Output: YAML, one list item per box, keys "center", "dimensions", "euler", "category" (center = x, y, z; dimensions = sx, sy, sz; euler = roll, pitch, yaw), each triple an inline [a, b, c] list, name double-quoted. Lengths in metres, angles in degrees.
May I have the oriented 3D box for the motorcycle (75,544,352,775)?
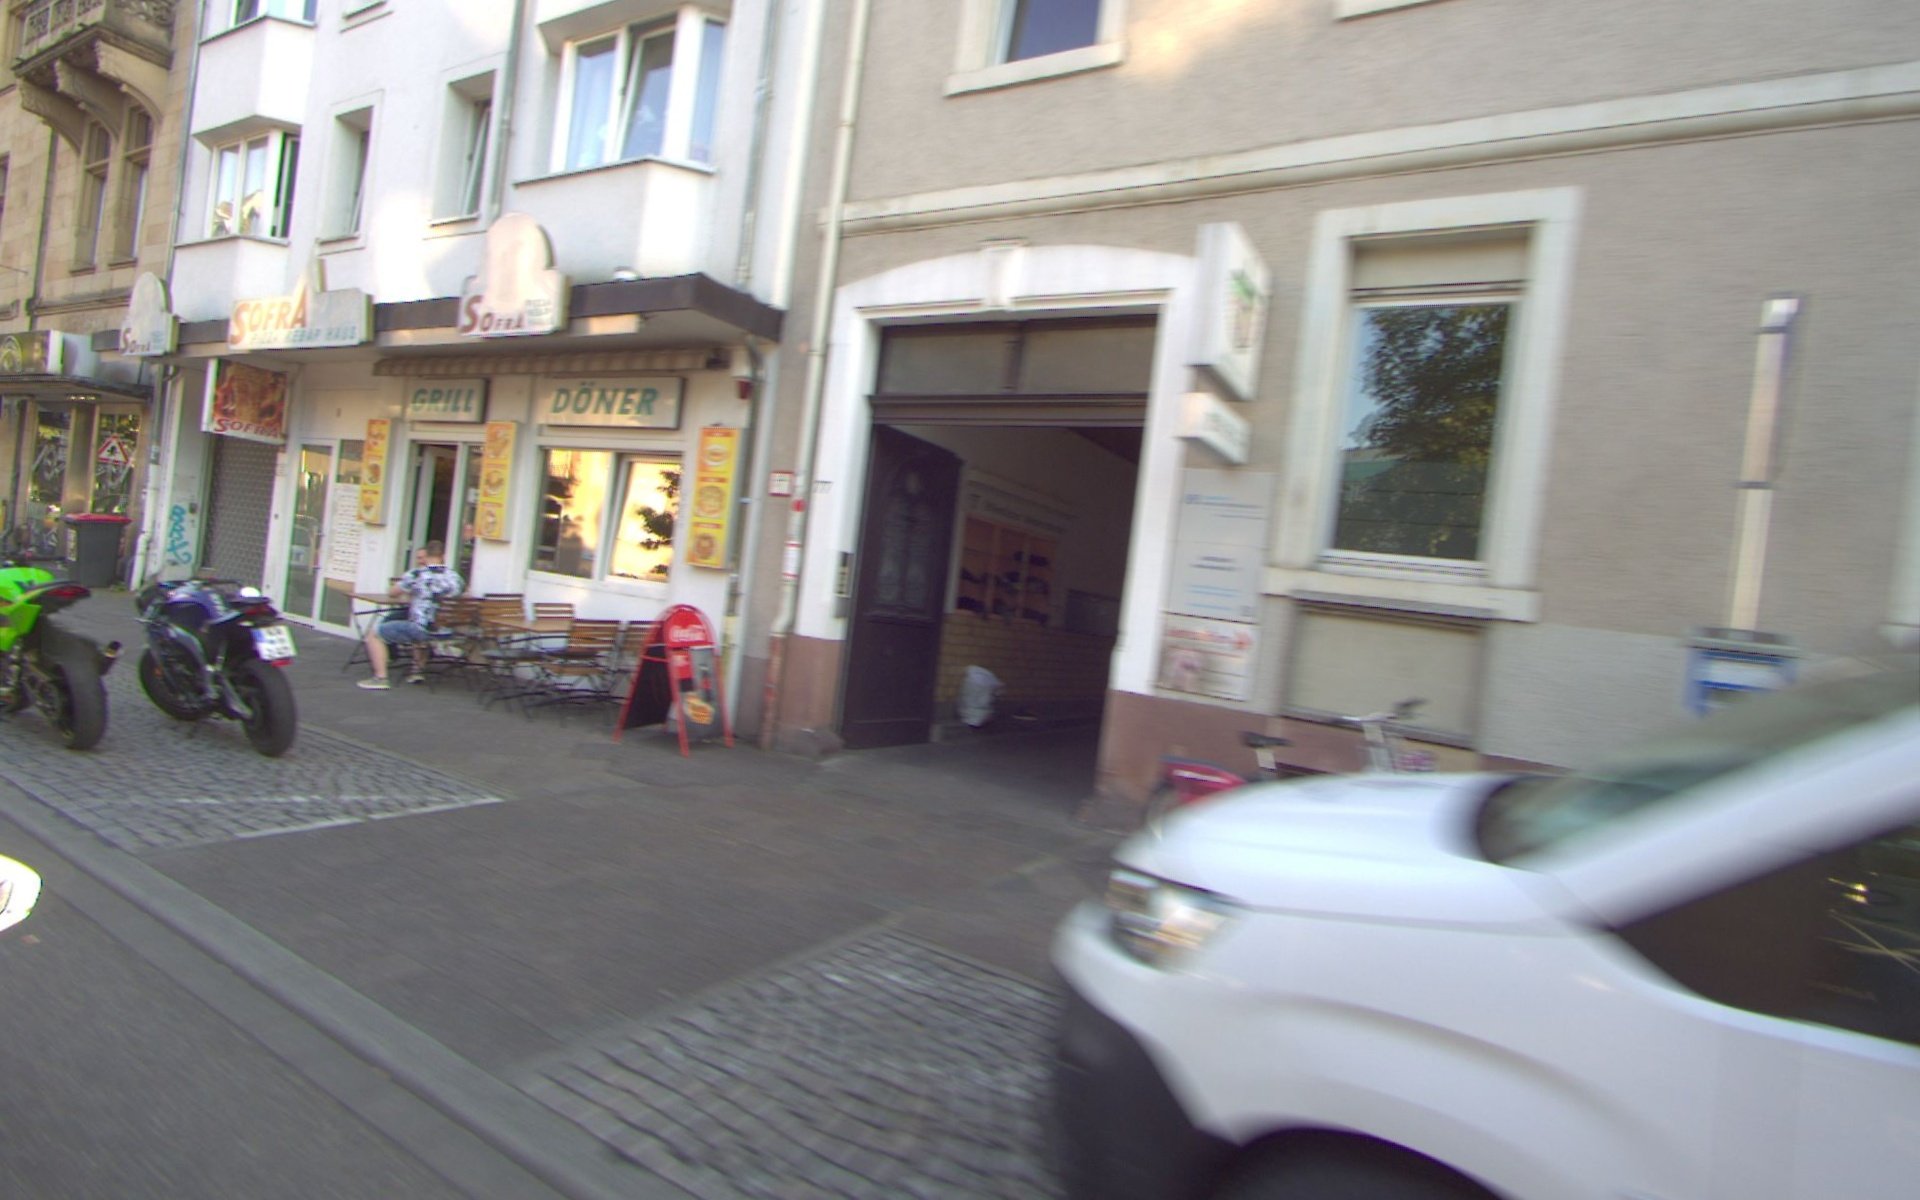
- center: [-4.894, 0.333, 6.533]
  dimensions: [2.173, 1.137, 0.589]
  euler: [8, 0, 32]
  category: "motorcycle"

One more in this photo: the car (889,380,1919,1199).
- center: [2.164, 0.814, 1.568]
  dimensions: [4.235, 1.856, 1.712]
  euler: [8, -1, 33]
  category: "car"

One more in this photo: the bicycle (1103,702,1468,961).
- center: [1.690, 1.176, 5.378]
  dimensions: [1.681, 1.024, 0.457]
  euler: [6, -1, 18]
  category: "bicycle"

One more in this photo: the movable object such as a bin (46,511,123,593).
- center: [-13.013, -0.707, 14.955]
  dimensions: [0.653, 1.097, 0.596]
  euler: [8, 0, 33]
  category: "movable object such as a bin"

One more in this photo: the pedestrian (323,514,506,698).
- center: [-5.010, 0.068, 9.266]
  dimensions: [0.976, 1.504, 0.957]
  euler: [8, -1, 32]
  category: "pedestrian"

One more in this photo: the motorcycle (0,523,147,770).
- center: [-5.820, 0.192, 6.157]
  dimensions: [2.173, 1.216, 0.588]
  euler: [8, 3, 32]
  category: "motorcycle"

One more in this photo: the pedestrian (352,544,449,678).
- center: [-5.690, 0.104, 10.267]
  dimensions: [0.734, 1.236, 0.785]
  euler: [6, 3, -28]
  category: "pedestrian"
